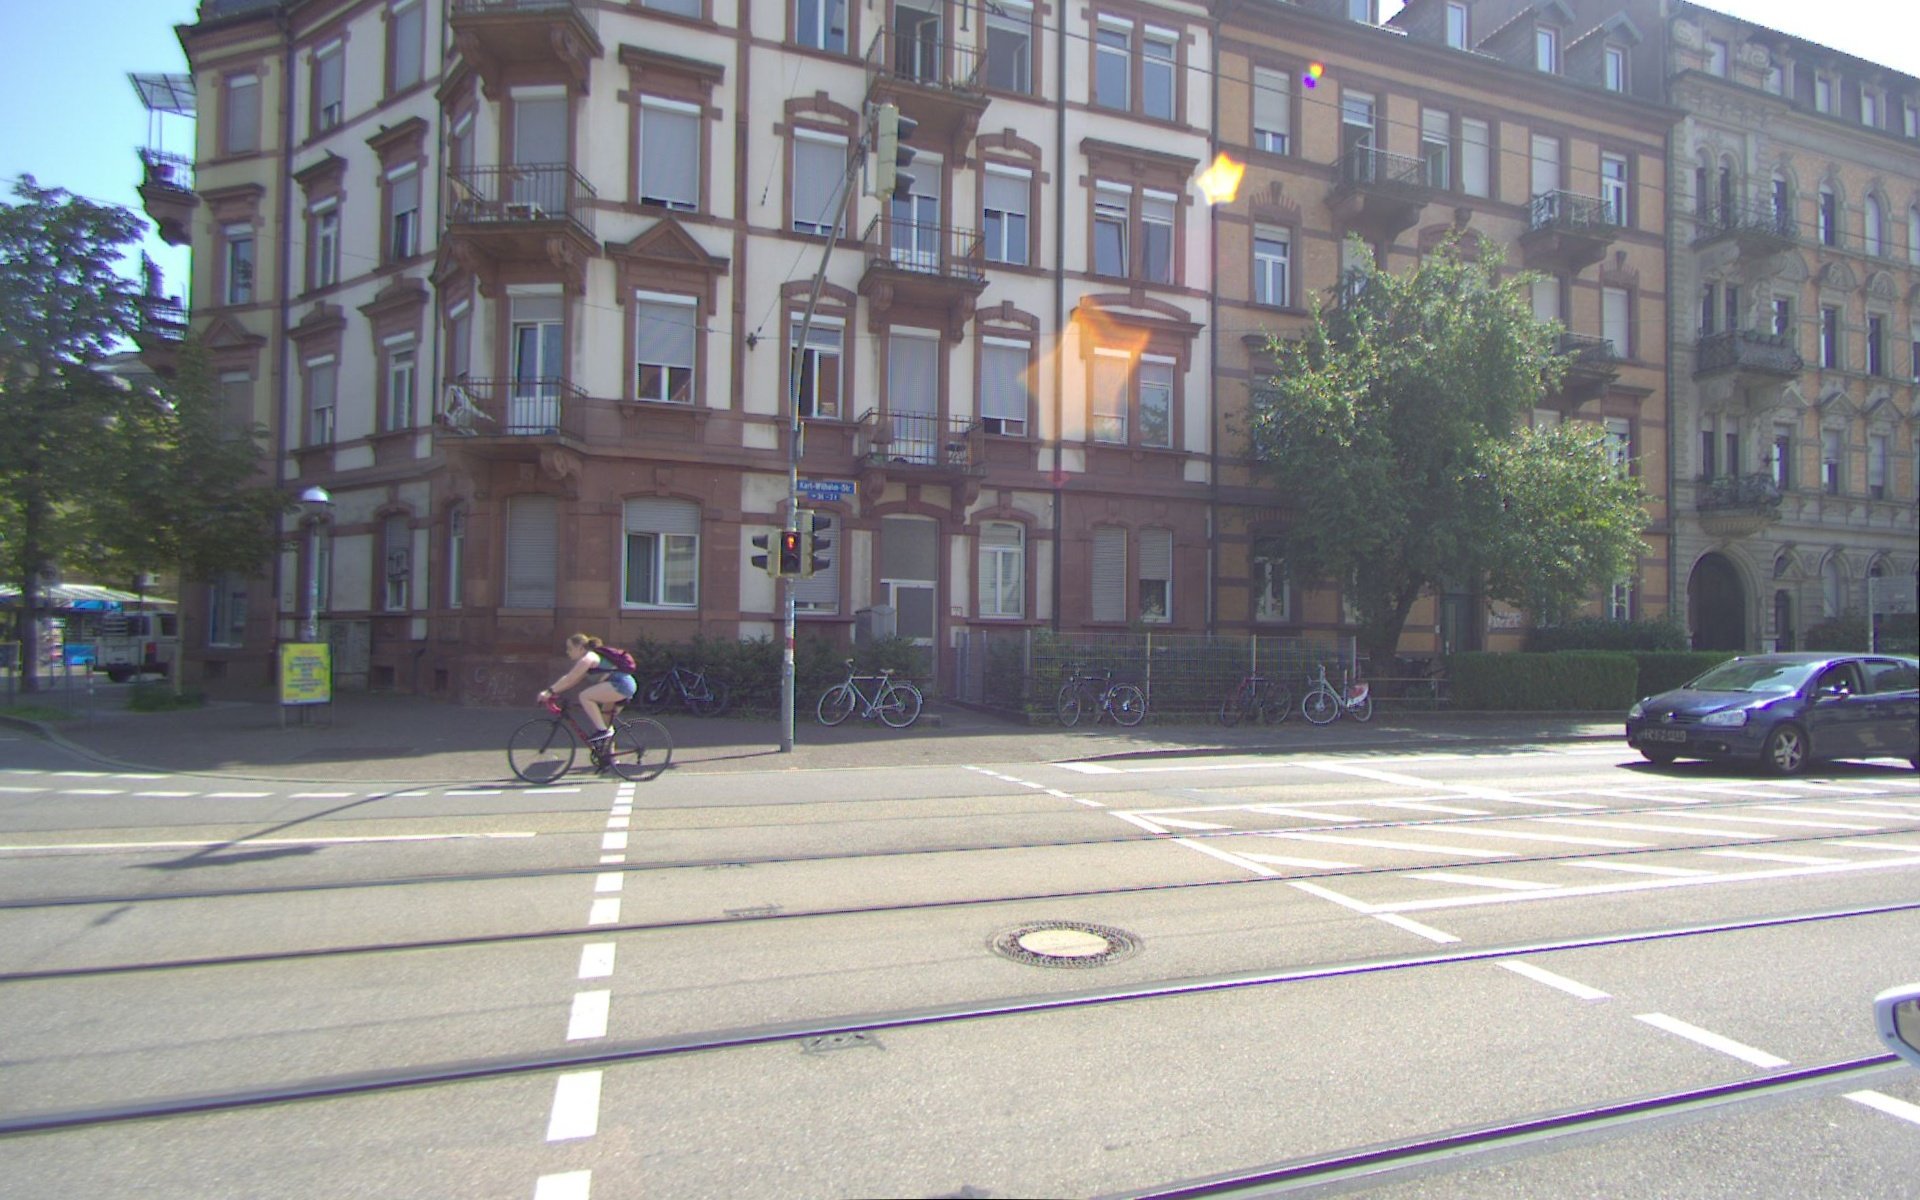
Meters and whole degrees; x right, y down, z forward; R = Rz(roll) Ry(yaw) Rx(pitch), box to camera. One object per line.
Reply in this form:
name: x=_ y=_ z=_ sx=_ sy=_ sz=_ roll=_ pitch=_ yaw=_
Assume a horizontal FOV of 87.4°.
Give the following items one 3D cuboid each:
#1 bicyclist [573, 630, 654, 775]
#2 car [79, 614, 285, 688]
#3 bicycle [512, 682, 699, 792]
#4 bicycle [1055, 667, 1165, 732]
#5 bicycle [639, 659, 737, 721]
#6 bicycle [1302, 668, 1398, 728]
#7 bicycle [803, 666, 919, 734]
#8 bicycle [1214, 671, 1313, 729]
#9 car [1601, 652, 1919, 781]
bicyclist: x=-3.706 y=1.074 z=10.767 sx=0.764 sy=1.489 sz=0.580 roll=1 pitch=-3 yaw=-19
car: x=-23.518 y=1.532 z=30.684 sx=2.123 sy=2.040 sz=5.031 roll=1 pitch=-2 yaw=3
bicycle: x=-3.760 y=1.428 z=10.738 sx=1.815 sy=1.080 sz=0.580 roll=1 pitch=-3 yaw=-20
bicycle: x=2.475 y=1.631 z=16.587 sx=1.749 sy=1.035 sz=0.487 roll=1 pitch=-2 yaw=-16
bicycle: x=-4.655 y=1.523 z=17.173 sx=1.646 sy=1.010 sz=0.395 roll=0 pitch=-2 yaw=19
bicycle: x=6.873 y=1.718 z=17.706 sx=1.630 sy=0.999 sz=0.487 roll=1 pitch=-2 yaw=-16
bicycle: x=-1.584 y=1.577 z=16.094 sx=1.794 sy=1.010 sz=0.489 roll=0 pitch=-2 yaw=19
bicycle: x=5.229 y=1.707 z=17.294 sx=1.630 sy=0.954 sz=0.487 roll=1 pitch=-2 yaw=-16
car: x=10.654 y=1.432 z=12.970 sx=4.108 sy=1.452 sz=1.727 roll=1 pitch=-2 yaw=-16
